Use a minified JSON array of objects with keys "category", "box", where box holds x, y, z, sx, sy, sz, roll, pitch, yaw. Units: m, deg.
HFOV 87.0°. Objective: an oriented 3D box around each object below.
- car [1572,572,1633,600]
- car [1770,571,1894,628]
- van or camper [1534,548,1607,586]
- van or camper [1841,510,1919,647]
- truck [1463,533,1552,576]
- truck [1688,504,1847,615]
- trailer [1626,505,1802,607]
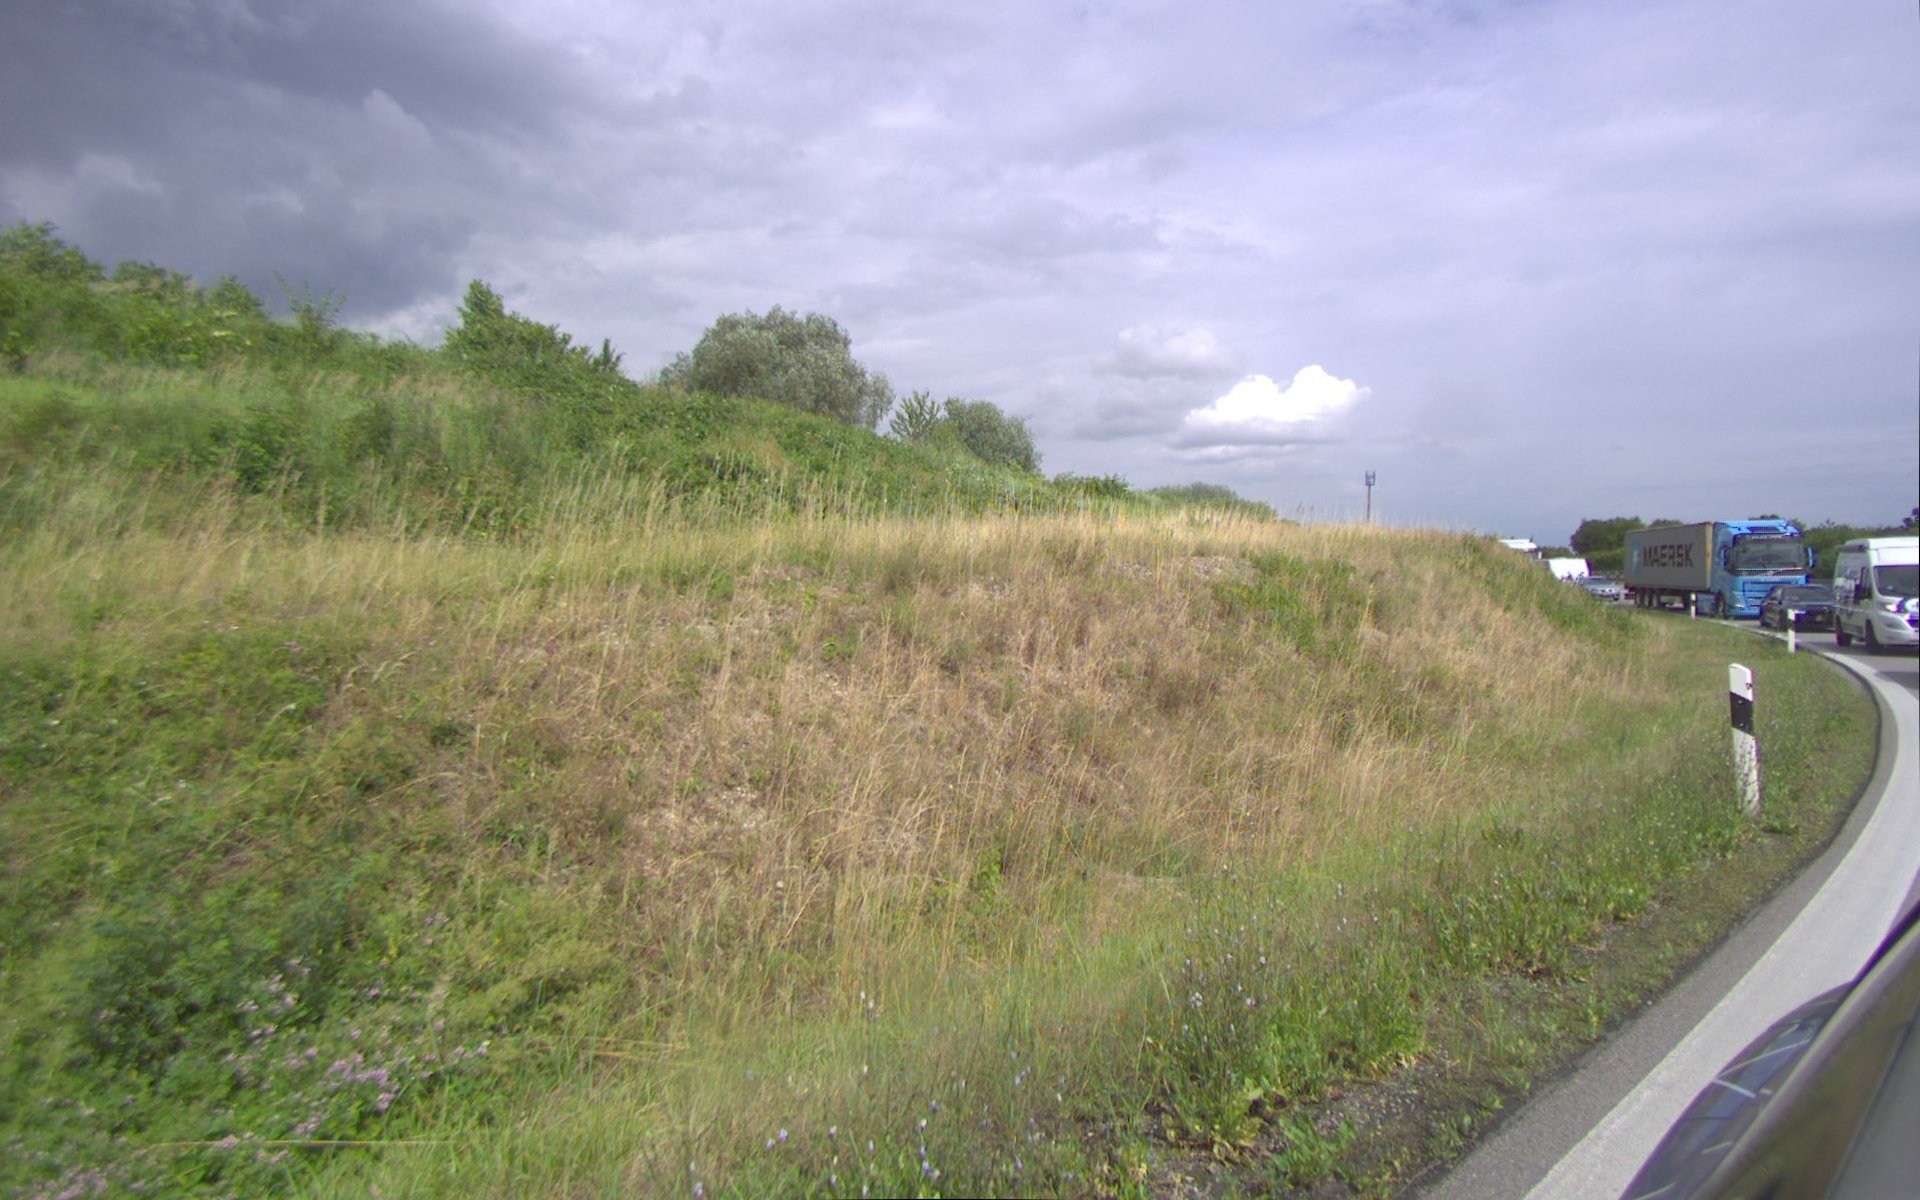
[{"category":"car","box":[38.625,-0.870,60.916,1.972,1.548,3.982,0,3,16]},{"category":"car","box":[27.747,-0.077,32.363,1.980,1.638,3.966,1,2,26]},{"category":"van or camper","box":[40.178,-2.228,66.796,2.515,2.237,5.692,-1,4,14]},{"category":"van or camper","box":[22.620,-0.502,23.642,2.383,2.945,5.651,0,1,34]},{"category":"truck","box":[44.247,-3.632,82.223,3.076,3.279,11.128,0,2,11]},{"category":"truck","box":[32.754,-1.566,41.428,3.141,4.124,6.601,0,1,21]},{"category":"trailer","box":[35.167,-1.887,47.909,3.234,4.213,11.941,0,1,20]}]
